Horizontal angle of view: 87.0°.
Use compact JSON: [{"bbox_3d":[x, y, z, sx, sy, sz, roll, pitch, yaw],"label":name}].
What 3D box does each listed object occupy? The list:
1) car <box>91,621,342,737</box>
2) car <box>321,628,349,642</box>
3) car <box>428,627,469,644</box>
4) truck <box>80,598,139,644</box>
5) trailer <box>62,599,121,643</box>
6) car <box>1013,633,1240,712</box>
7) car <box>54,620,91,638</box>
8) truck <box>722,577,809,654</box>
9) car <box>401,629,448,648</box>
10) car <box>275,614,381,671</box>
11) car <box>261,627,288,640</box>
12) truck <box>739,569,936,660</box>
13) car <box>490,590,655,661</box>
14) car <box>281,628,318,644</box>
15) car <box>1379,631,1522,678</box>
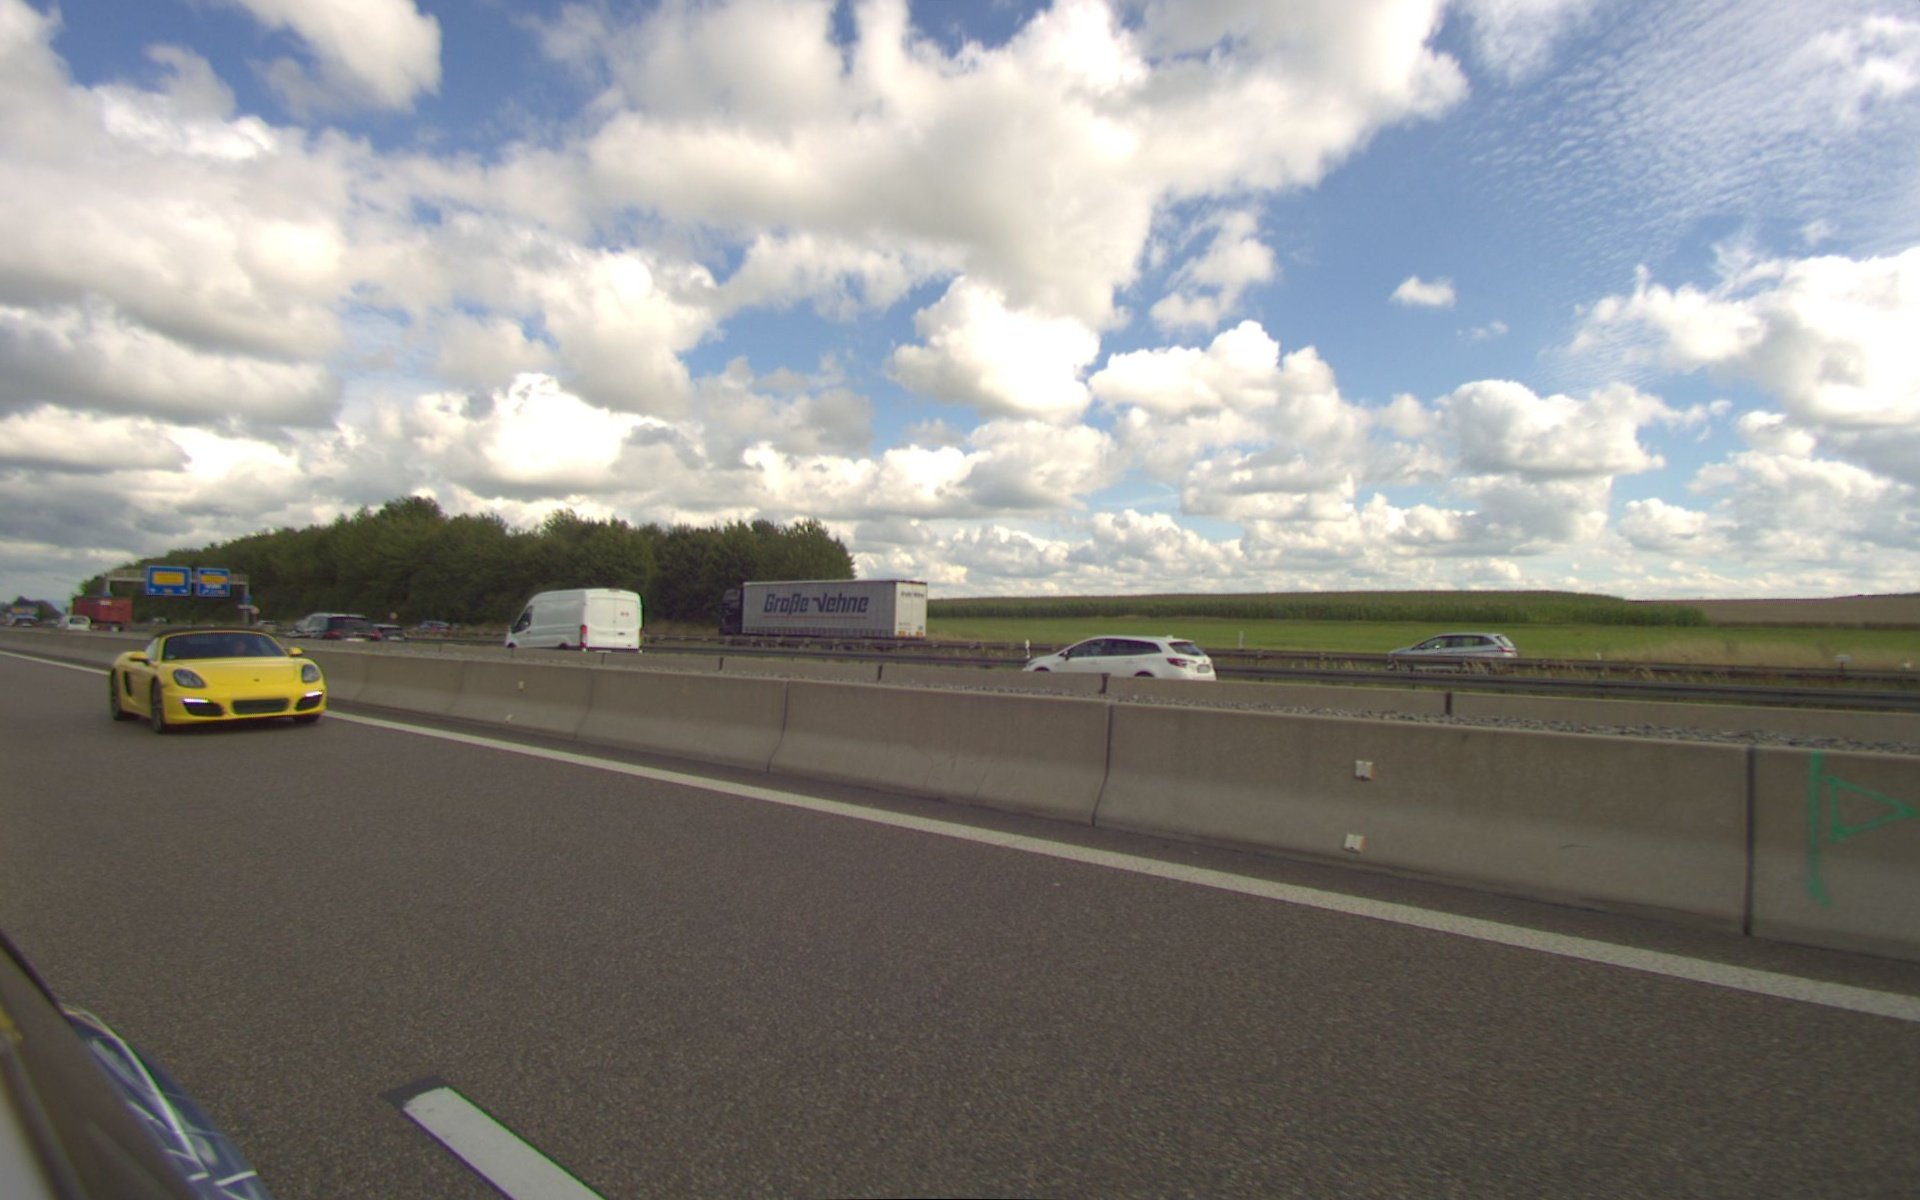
[{"bbox_3d":[-10.144,0.984,13.691,4.245,1.325,1.788,-1,-3,41],"label":"car"},{"bbox_3d":[-71.127,3.979,115.163,3.998,1.567,1.649,-1,-1,41],"label":"car"},{"bbox_3d":[-48.915,3.406,96.716,4.801,1.577,1.729,-1,-2,39],"label":"car"},{"bbox_3d":[-83.632,2.110,99.442,8.583,4.321,3.015,-1,-2,41],"label":"truck"},{"bbox_3d":[-90.546,2.216,105.419,10.648,4.321,3.015,-1,-2,41],"label":"trailer"},{"bbox_3d":[3.625,1.538,22.671,4.861,1.541,1.708,-1,-1,40],"label":"car"},{"bbox_3d":[-77.434,2.505,88.273,4.938,1.543,1.745,-1,-2,40],"label":"car"},{"bbox_3d":[-12.416,0.976,64.414,5.070,4.694,3.013,-1,-2,42],"label":"truck"},{"bbox_3d":[-42.128,3.018,79.573,4.517,1.420,1.697,-1,-1,40],"label":"car"},{"bbox_3d":[-21.330,1.382,34.082,4.700,1.744,1.745,-1,-1,41],"label":"car"},{"bbox_3d":[-81.145,3.952,119.801,3.998,1.567,1.649,-1,-1,41],"label":"car"},{"bbox_3d":[-7.602,0.875,60.137,14.121,4.839,3.042,-1,-1,41],"label":"truck"},{"bbox_3d":[-12.021,0.760,31.151,5.831,1.982,2.330,-1,-1,42],"label":"car"},{"bbox_3d":[-65.836,3.561,100.783,4.938,1.543,1.745,-1,-1,40],"label":"car"},{"bbox_3d":[17.899,1.955,37.041,4.449,1.545,1.711,-1,-1,41],"label":"car"}]
